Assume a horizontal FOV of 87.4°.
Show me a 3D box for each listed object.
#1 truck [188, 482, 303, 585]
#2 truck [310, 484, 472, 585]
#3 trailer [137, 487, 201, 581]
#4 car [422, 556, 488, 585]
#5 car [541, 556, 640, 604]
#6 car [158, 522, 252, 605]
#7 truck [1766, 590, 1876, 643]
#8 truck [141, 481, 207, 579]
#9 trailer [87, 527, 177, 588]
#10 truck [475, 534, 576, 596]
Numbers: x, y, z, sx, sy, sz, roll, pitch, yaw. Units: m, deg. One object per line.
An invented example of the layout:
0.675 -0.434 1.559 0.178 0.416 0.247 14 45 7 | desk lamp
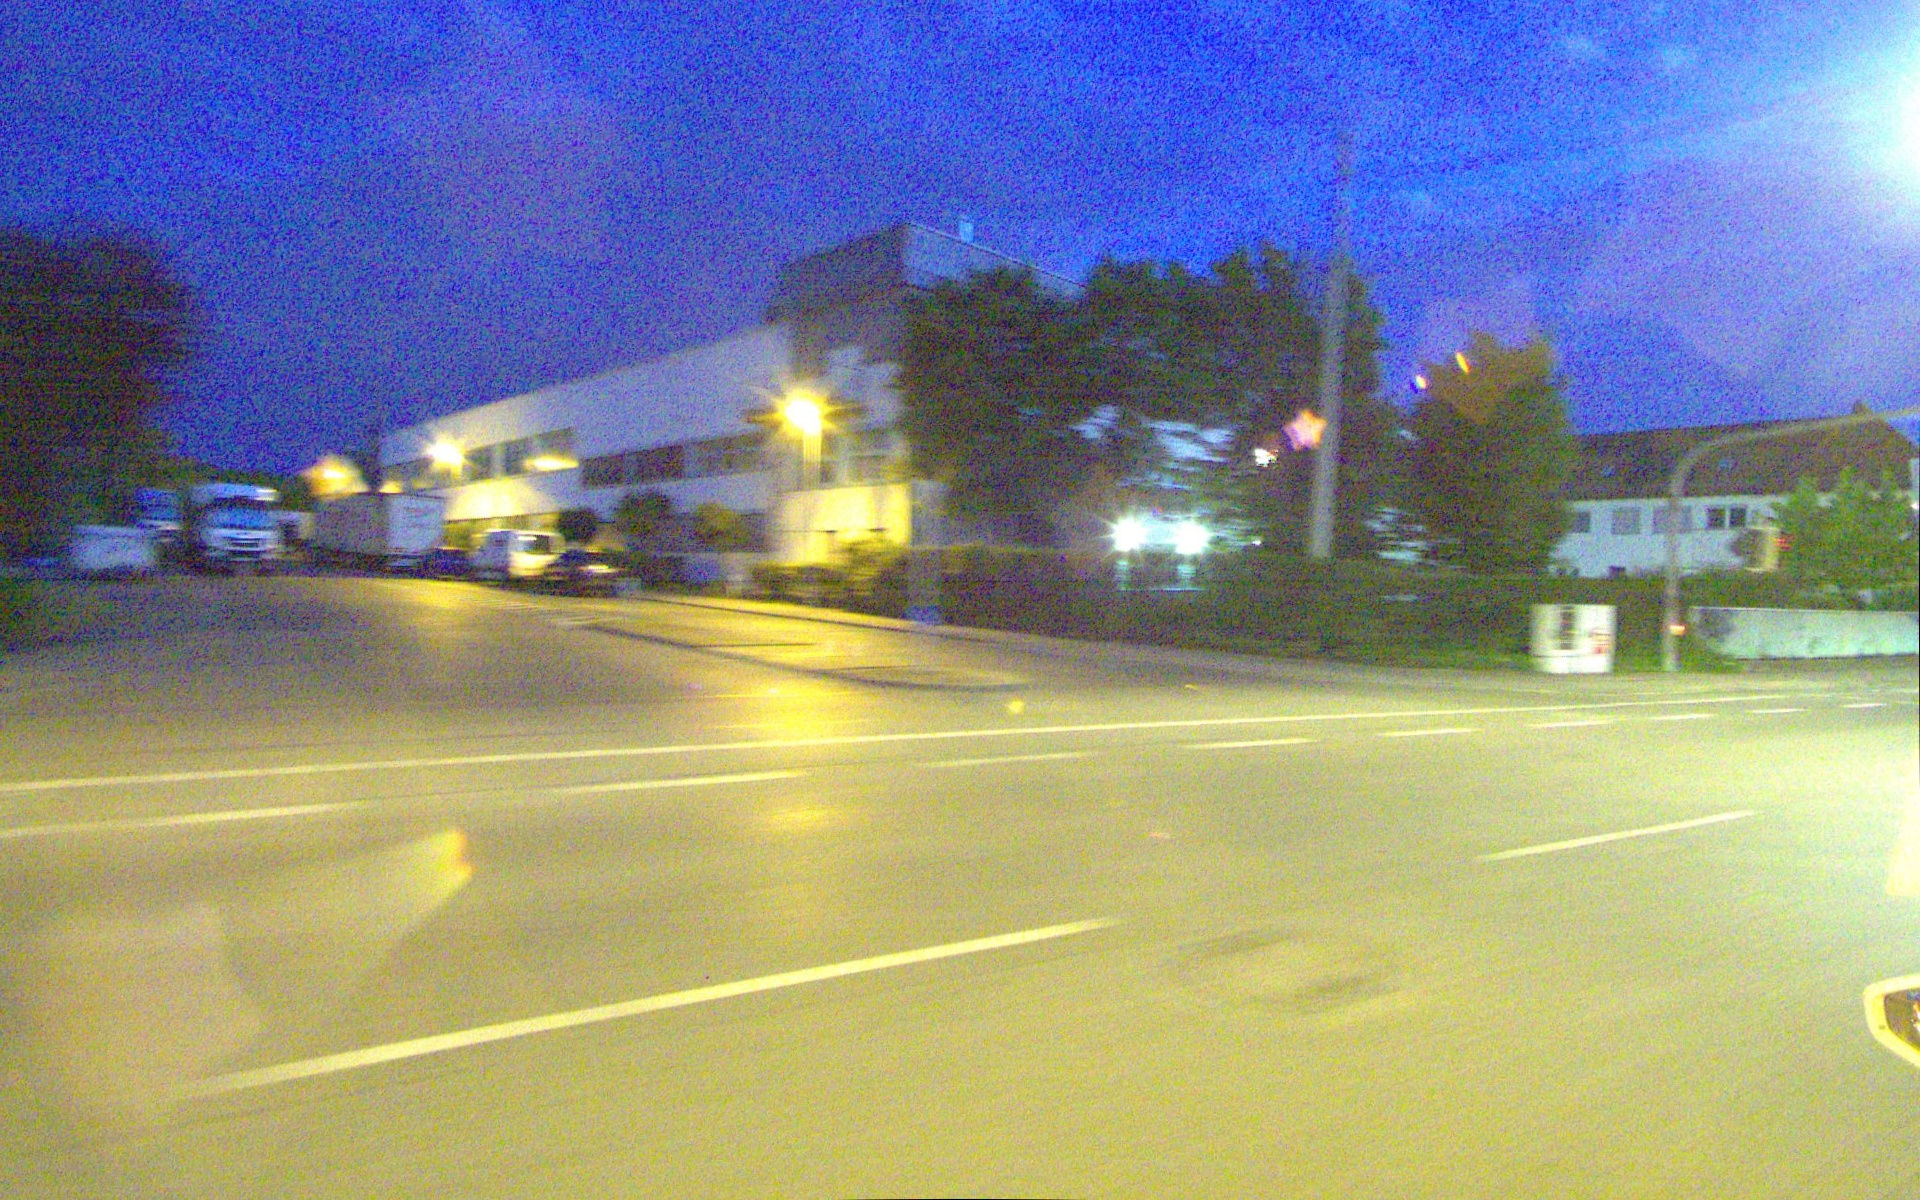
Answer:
-30.554 -2.599 42.753 2.854 3.776 9.483 1 0 -42 | truck
-32.435 -3.599 56.561 3.457 4.875 17.166 0 2 -45 | truck
-53.758 -4.229 68.108 2.903 5.621 12.432 1 0 -41 | trailer
-23.957 -1.394 47.589 1.770 1.261 3.521 1 1 -45 | car
-13.829 -0.776 37.498 1.898 1.610 4.291 1 2 -44 | car
-38.776 -1.767 51.510 6.137 3.931 2.895 0 -1 44 | car
33.980 0.641 39.614 5.263 1.925 1.980 1 1 -35 | truck
-48.828 -4.218 62.375 2.916 5.657 5.199 1 0 -42 | truck
-24.855 -1.284 30.288 1.862 1.644 5.184 1 2 -37 | trailer
-18.310 -1.513 42.207 4.973 2.421 2.150 4 2 44 | truck
